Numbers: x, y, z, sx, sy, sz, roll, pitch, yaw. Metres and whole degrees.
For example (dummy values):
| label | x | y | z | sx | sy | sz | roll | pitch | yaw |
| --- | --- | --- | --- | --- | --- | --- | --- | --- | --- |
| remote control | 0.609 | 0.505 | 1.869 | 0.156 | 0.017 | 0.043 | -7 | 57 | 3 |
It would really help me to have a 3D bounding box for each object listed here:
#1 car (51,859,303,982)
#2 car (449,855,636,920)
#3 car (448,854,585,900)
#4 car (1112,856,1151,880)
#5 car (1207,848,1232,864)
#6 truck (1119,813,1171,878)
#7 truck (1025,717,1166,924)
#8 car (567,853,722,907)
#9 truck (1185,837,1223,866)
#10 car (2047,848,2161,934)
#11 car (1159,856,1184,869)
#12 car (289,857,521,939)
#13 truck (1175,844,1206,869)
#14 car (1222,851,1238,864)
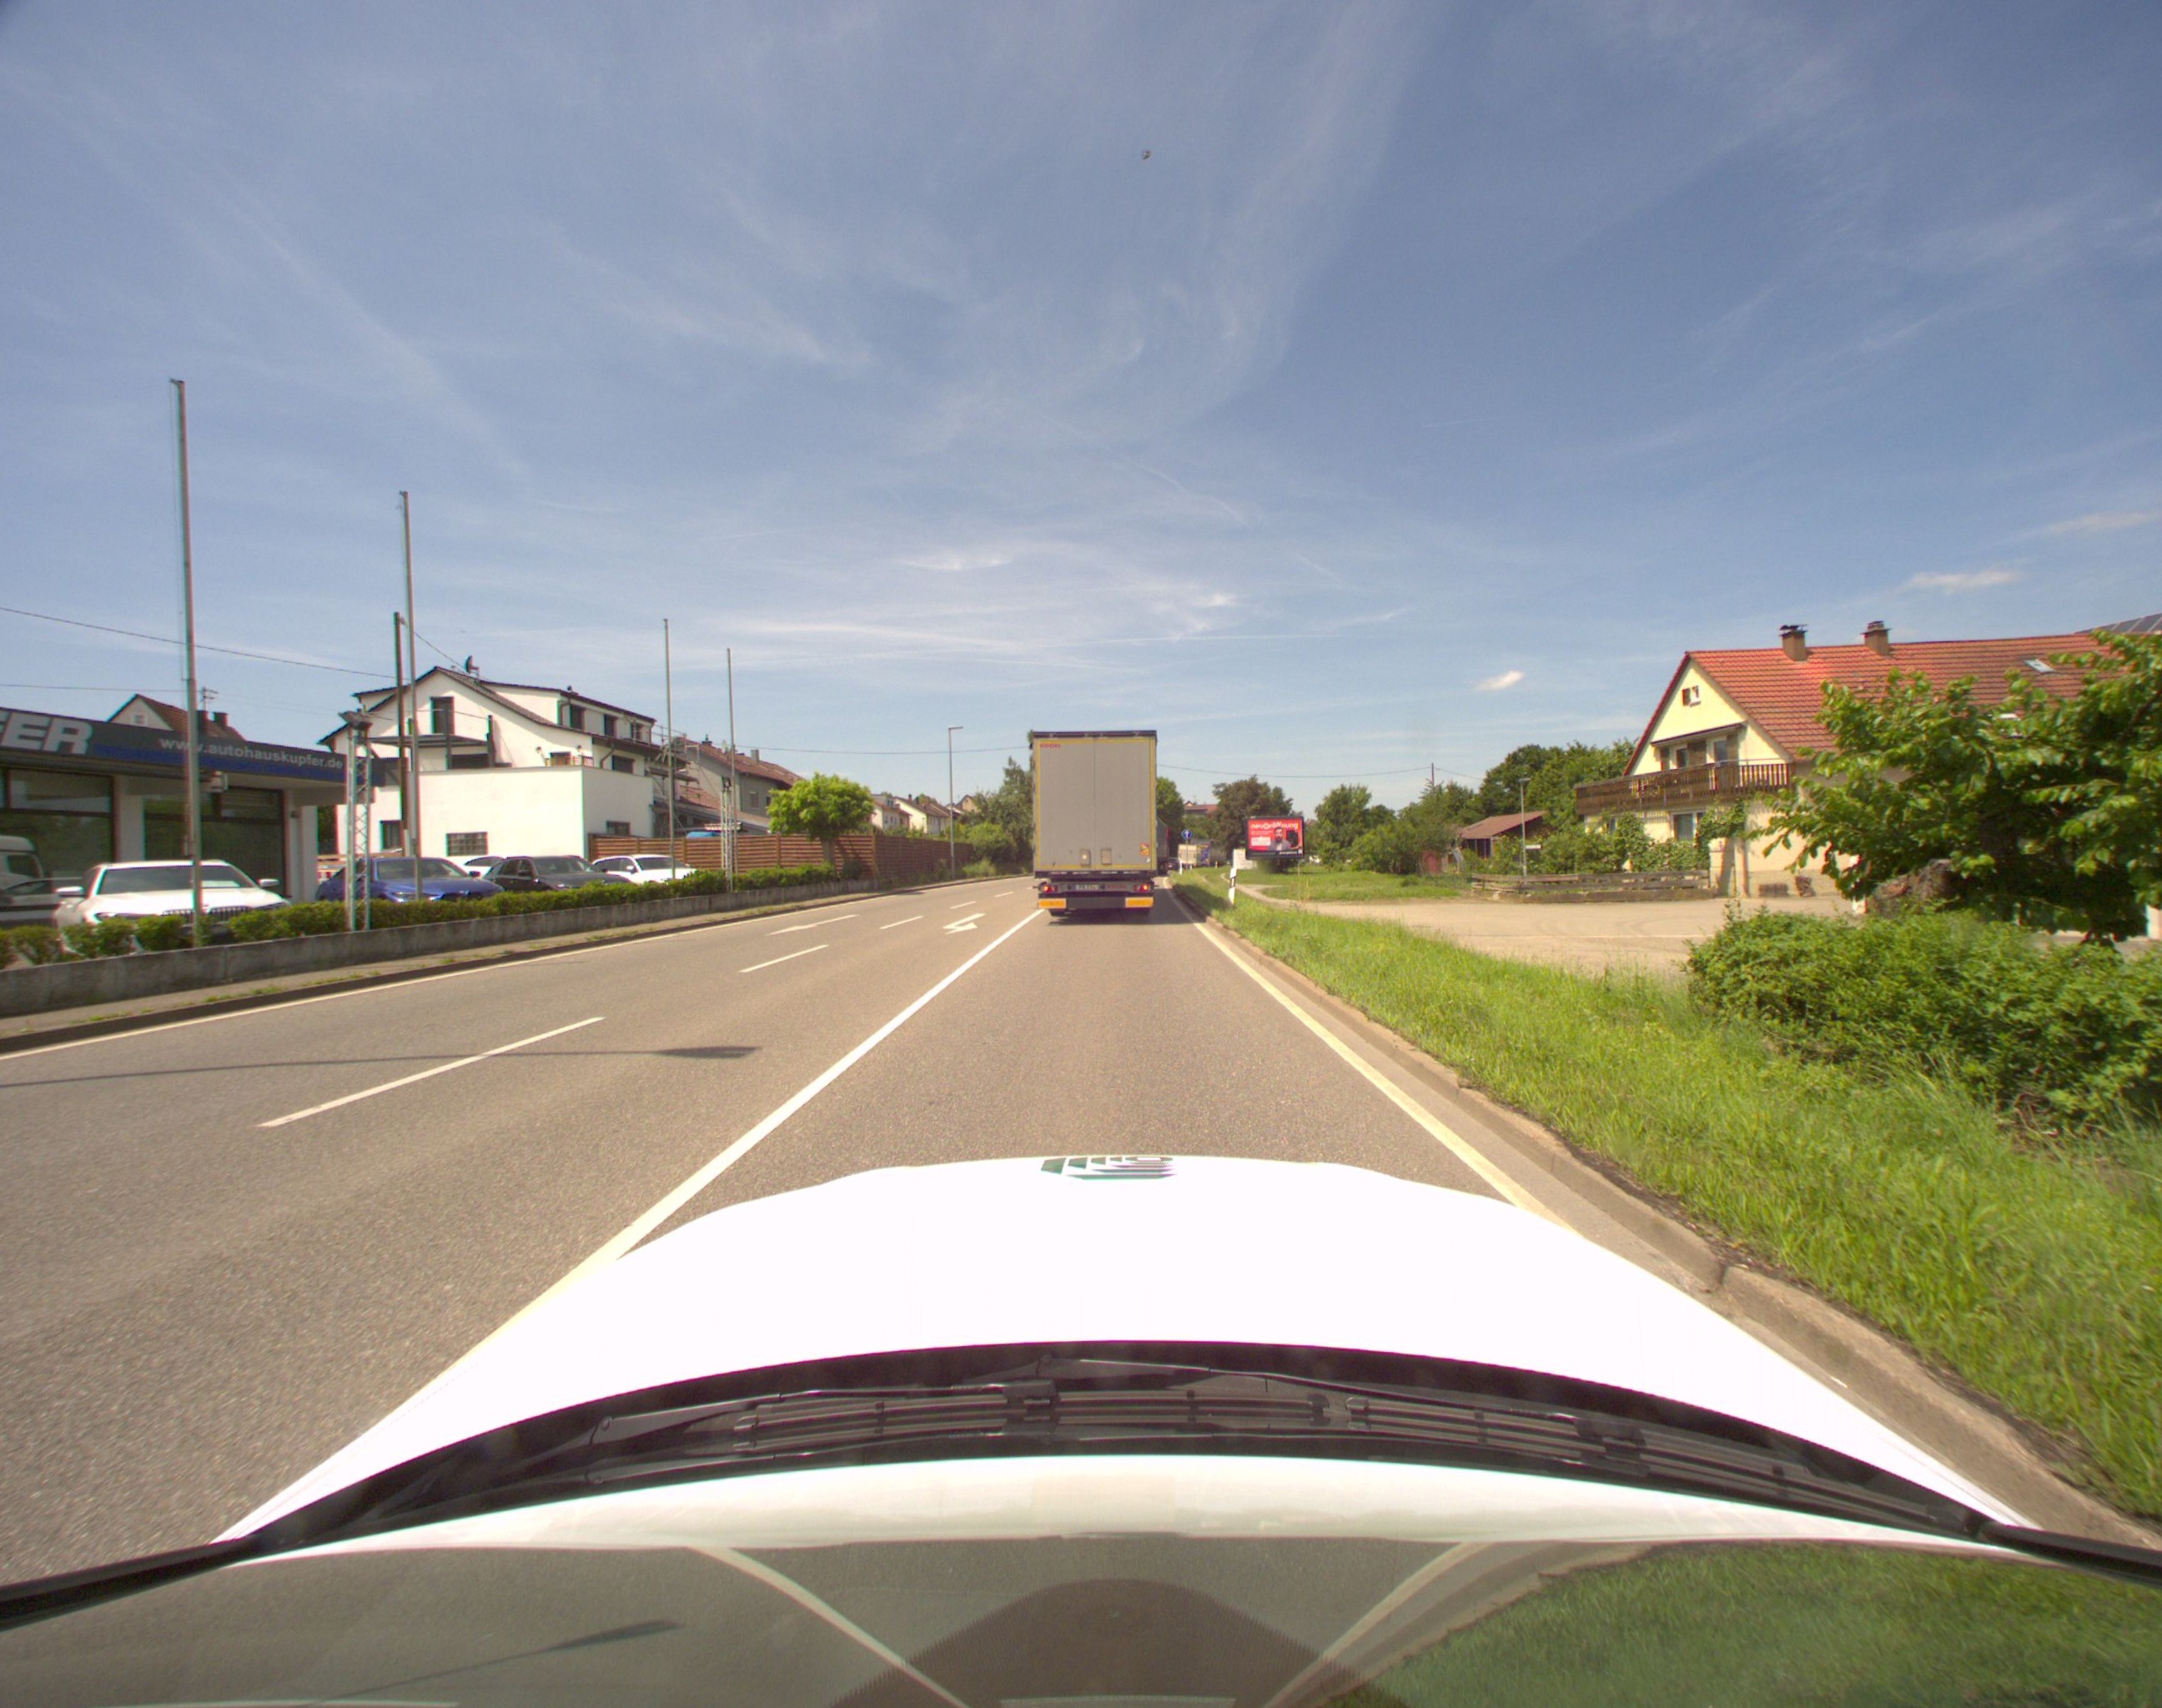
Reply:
| label | x | y | z | sx | sy | sz | roll | pitch | yaw |
| --- | --- | --- | --- | --- | --- | --- | --- | --- | --- |
| car | -13.169 | 0.813 | 11.796 | 4.457 | 1.447 | 1.869 | 0 | 0 | 34 |
| car | -13.098 | 0.761 | 19.790 | 4.288 | 1.447 | 1.910 | 0 | -1 | 27 |
| car | -19.955 | 0.777 | 28.816 | 3.957 | 1.510 | 1.843 | 0 | 0 | 15 |
| car | 2.976 | 0.805 | 47.093 | 1.807 | 1.346 | 3.858 | 0 | -1 | 11 |
| car | 20.107 | 0.275 | 117.880 | 2.511 | 2.277 | 6.412 | 0 | 0 | 19 |
| truck | 5.151 | -0.447 | 62.191 | 2.744 | 4.289 | 16.454 | 0 | -1 | 9 |
| truck | 0.489 | -0.659 | 21.985 | 2.811 | 4.127 | 11.448 | 0 | 0 | 2 |
| car | -12.712 | 0.712 | 23.695 | 4.288 | 1.447 | 1.868 | 0 | -1 | 27 |
| truck | 16.298 | -0.354 | 107.366 | 3.405 | 3.604 | 9.398 | 0 | 0 | 18 |
| car | 22.119 | 0.654 | 15.980 | 3.970 | 1.578 | 1.835 | -2 | -1 | 3 |
| car | 9.240 | 0.867 | 82.974 | 1.979 | 1.376 | 4.016 | 0 | -1 | 15 |
| car | -13.308 | 0.795 | 16.026 | 4.288 | 1.447 | 1.868 | 0 | -1 | 26 |
| truck | 12.875 | 0.325 | 95.313 | 2.523 | 2.803 | 6.059 | 0 | -1 | 17 |
| car | 23.430 | 0.495 | 128.120 | 1.977 | 2.014 | 4.019 | 0 | -1 | 19 |
